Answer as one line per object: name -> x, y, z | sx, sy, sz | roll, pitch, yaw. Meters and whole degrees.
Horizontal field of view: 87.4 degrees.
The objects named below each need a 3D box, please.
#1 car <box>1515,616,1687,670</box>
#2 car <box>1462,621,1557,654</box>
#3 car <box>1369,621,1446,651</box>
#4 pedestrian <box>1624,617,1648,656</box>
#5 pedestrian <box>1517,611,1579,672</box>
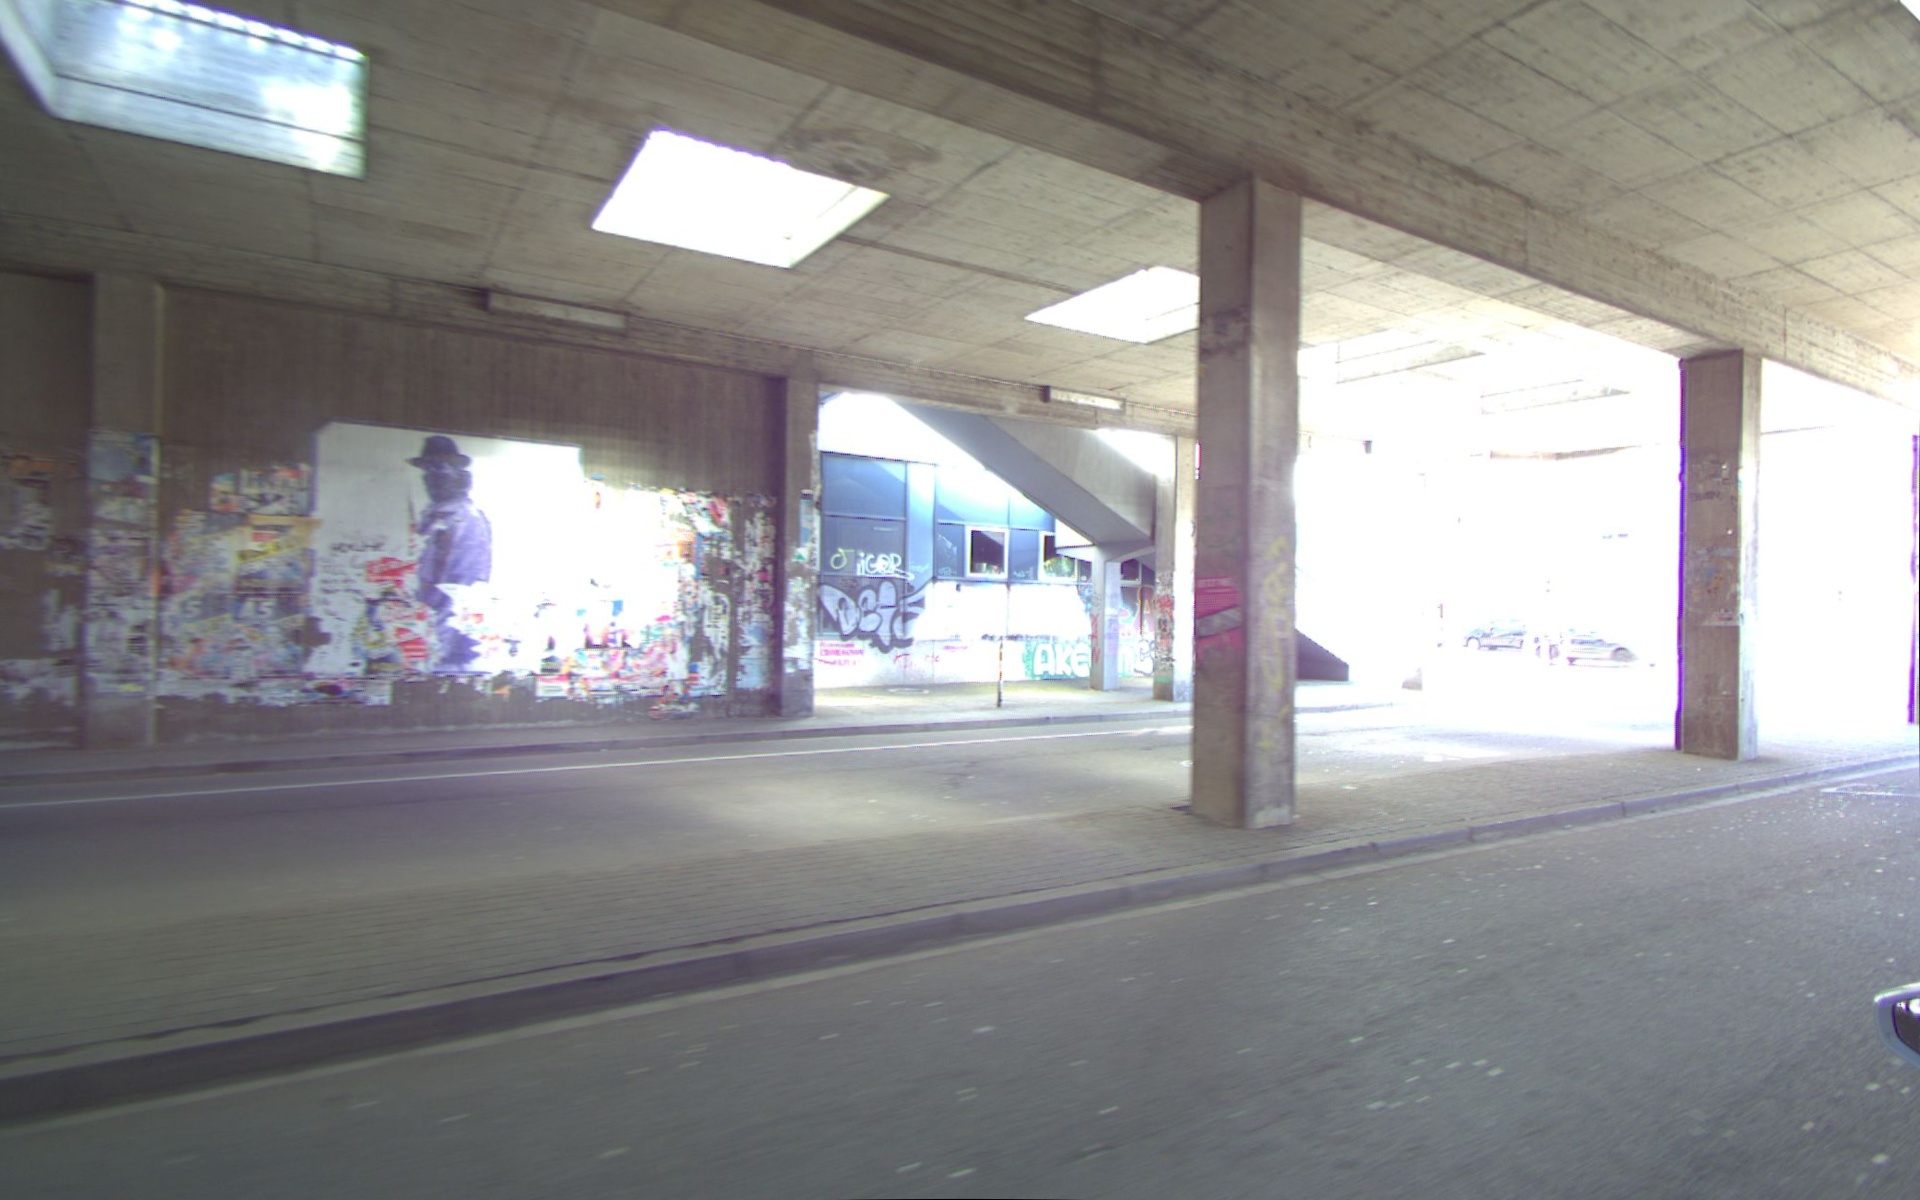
car -> 21.483, 1.390, 33.886 | 1.973, 1.663, 4.565 | 0, -1, -25
car -> 26.830, 1.825, 49.104 | 1.732, 1.528, 3.735 | 1, -1, -31
car -> 23.895, 1.896, 53.732 | 1.543, 1.526, 3.517 | 1, -1, -29
pedestrian -> 30.656, 1.654, 45.565 | 0.619, 1.727, 0.715 | 2, 0, -37
pedestrian -> 17.279, 1.202, 29.527 | 1.123, 1.760, 1.111 | 1, -1, -17
